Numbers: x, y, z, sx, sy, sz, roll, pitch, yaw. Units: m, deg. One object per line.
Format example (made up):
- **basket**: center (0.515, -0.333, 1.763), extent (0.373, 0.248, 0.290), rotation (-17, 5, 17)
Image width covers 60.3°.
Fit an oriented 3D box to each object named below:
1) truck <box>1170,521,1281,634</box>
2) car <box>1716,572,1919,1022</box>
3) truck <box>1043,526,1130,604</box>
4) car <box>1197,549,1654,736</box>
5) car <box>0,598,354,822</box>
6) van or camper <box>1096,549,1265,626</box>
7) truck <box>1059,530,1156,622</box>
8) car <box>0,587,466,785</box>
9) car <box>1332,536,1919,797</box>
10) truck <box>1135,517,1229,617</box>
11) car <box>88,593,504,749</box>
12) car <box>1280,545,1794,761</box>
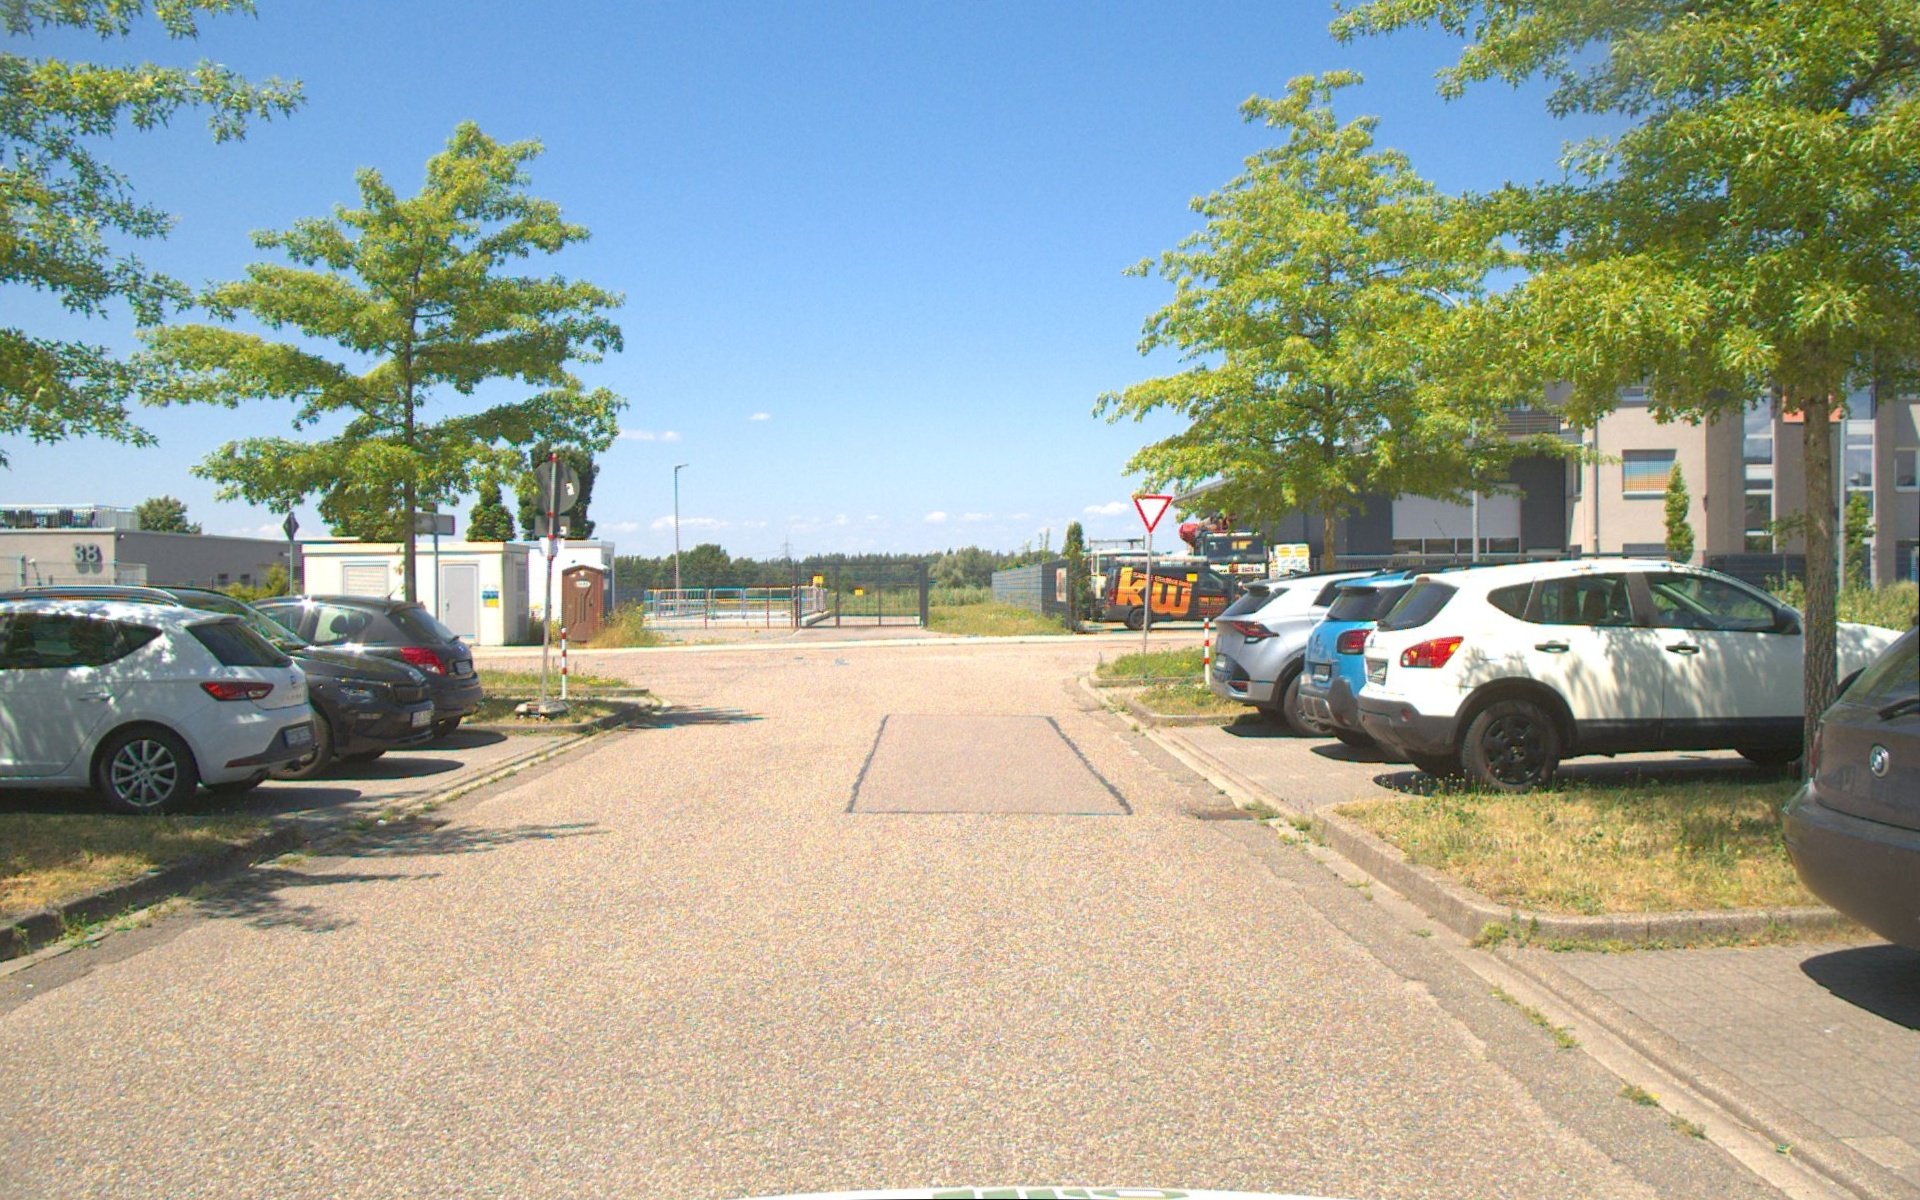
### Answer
- **truck**: center (9.944, -0.845, 62.699), extent (2.862, 3.997, 6.934), rotation (-1, 1, -1)
- **car**: center (4.955, 0.573, 5.643), extent (3.843, 1.434, 1.909), rotation (-2, -1, -1)
- **truck**: center (5.127, -1.404, 68.215), extent (2.862, 2.989, 6.934), rotation (-1, 1, -1)
- **car**: center (4.733, 0.408, 17.248), extent (4.192, 1.673, 1.851), rotation (-2, 0, -1)
- **car**: center (-6.725, 0.730, 11.969), extent (3.995, 1.449, 1.872), rotation (1, 0, -5)
- **van or camper**: center (6.695, -0.414, 50.601), extent (4.836, 2.201, 2.000), rotation (-1, 2, -2)
- **truck**: center (5.244, -0.866, 59.918), extent (2.671, 3.115, 6.934), rotation (-1, 1, -1)
- **car**: center (-6.469, 0.699, 14.320), extent (3.849, 1.547, 1.784), rotation (1, 0, -4)
- **car**: center (4.983, 0.449, 12.243), extent (3.985, 1.636, 1.901), rotation (-2, 0, 0)
- **truck**: center (9.374, -1.402, 70.679), extent (2.862, 3.997, 6.934), rotation (-1, 1, -1)
- **car**: center (-6.697, 0.697, 16.989), extent (3.553, 1.461, 1.725), rotation (1, 0, -4)
- **car**: center (5.022, 0.434, 14.772), extent (3.906, 1.673, 1.838), rotation (-2, 0, -2)
